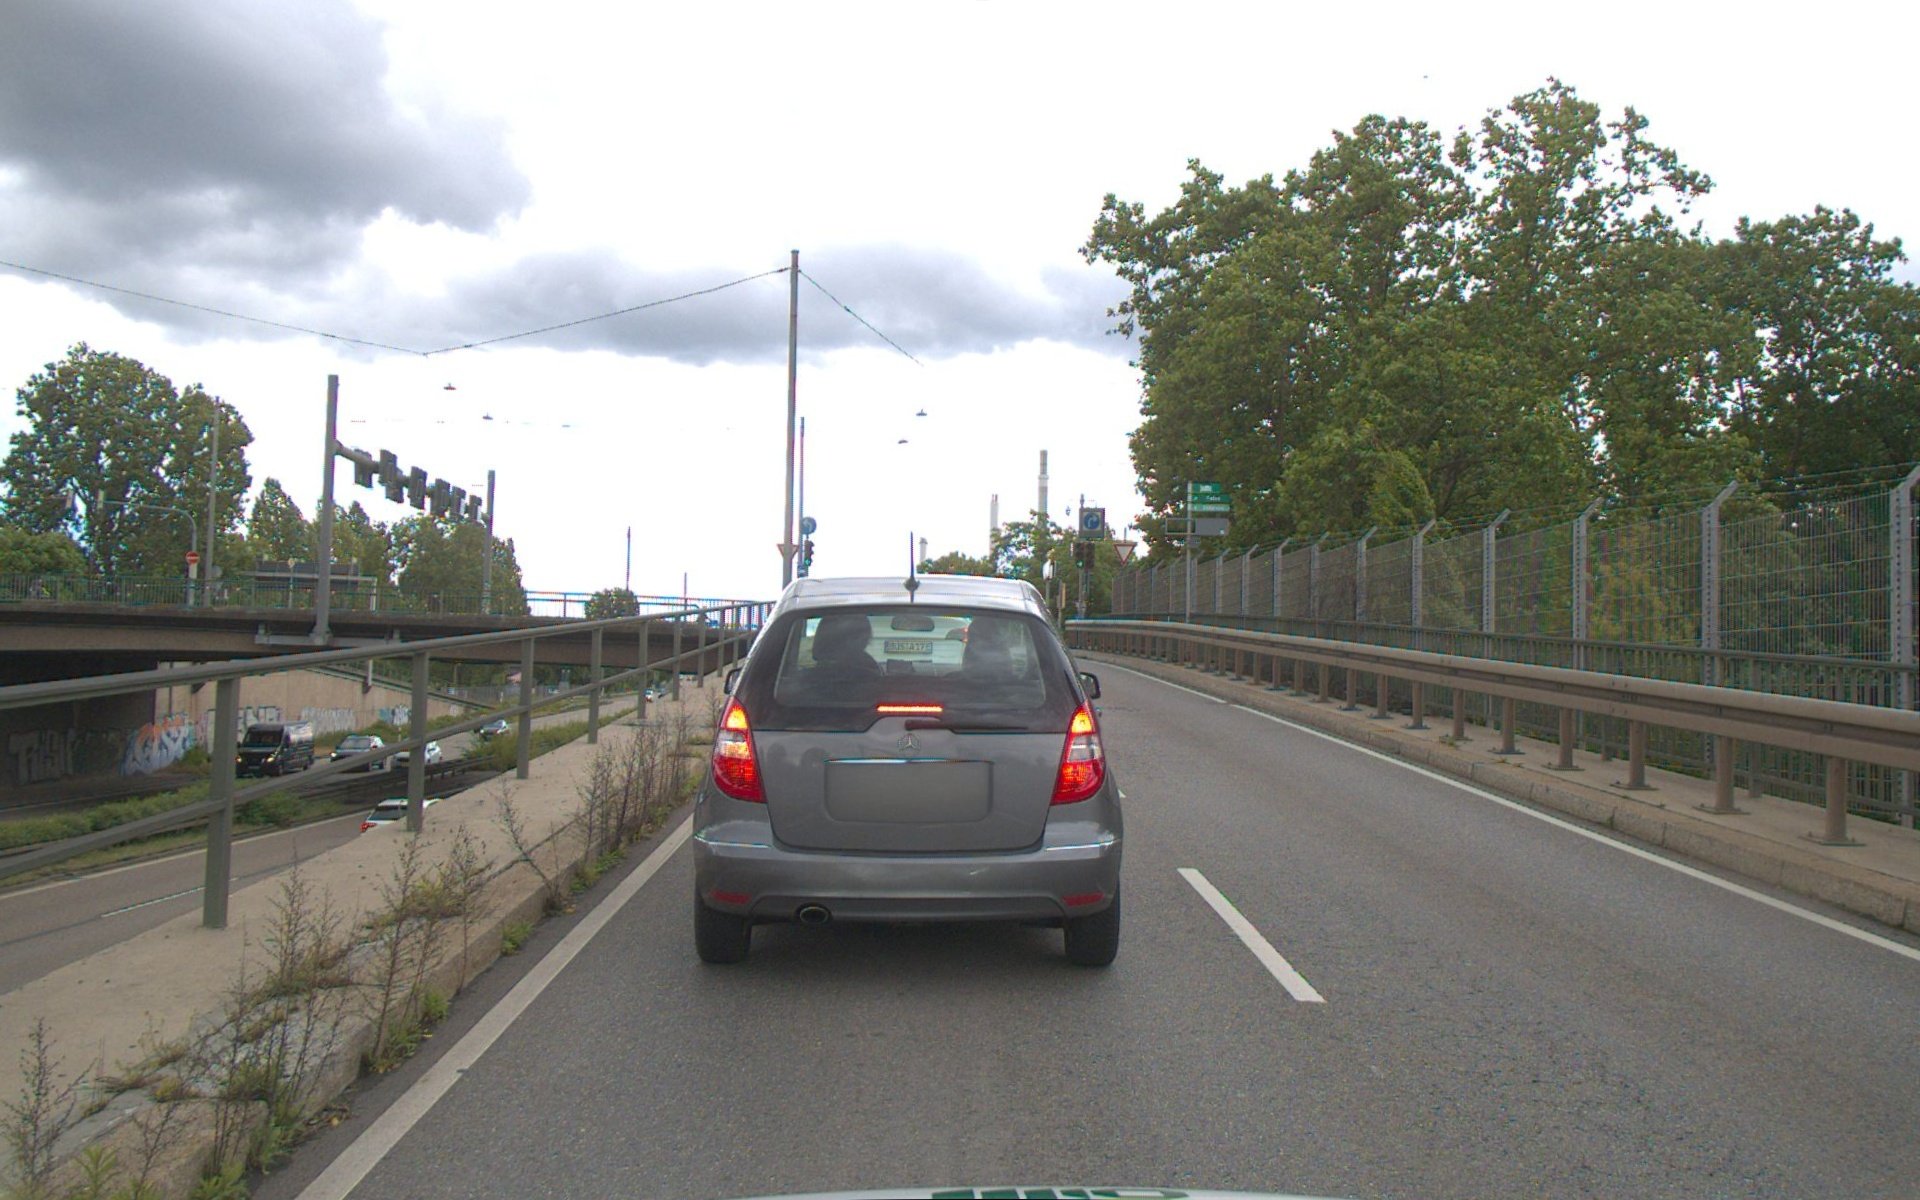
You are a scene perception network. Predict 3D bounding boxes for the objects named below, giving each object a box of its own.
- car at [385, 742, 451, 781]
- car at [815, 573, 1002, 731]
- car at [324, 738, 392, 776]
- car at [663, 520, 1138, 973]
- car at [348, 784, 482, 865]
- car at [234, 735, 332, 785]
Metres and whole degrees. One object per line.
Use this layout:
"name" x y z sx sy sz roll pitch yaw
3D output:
"car" -26.259 7.814 80.285 1.953 1.691 3.997 1 -4 -2
"car" -0.580 0.514 19.326 1.953 1.631 3.999 0 1 -1
"car" -29.631 7.702 81.574 1.953 1.691 3.997 1 -4 -2
"car" -0.032 0.580 8.013 1.713 1.608 4.087 0 -2 5
"car" -13.122 5.387 40.059 1.816 1.526 4.000 0 -2 1
"car" -32.489 7.653 79.581 2.244 2.193 6.180 0 -4 -1
